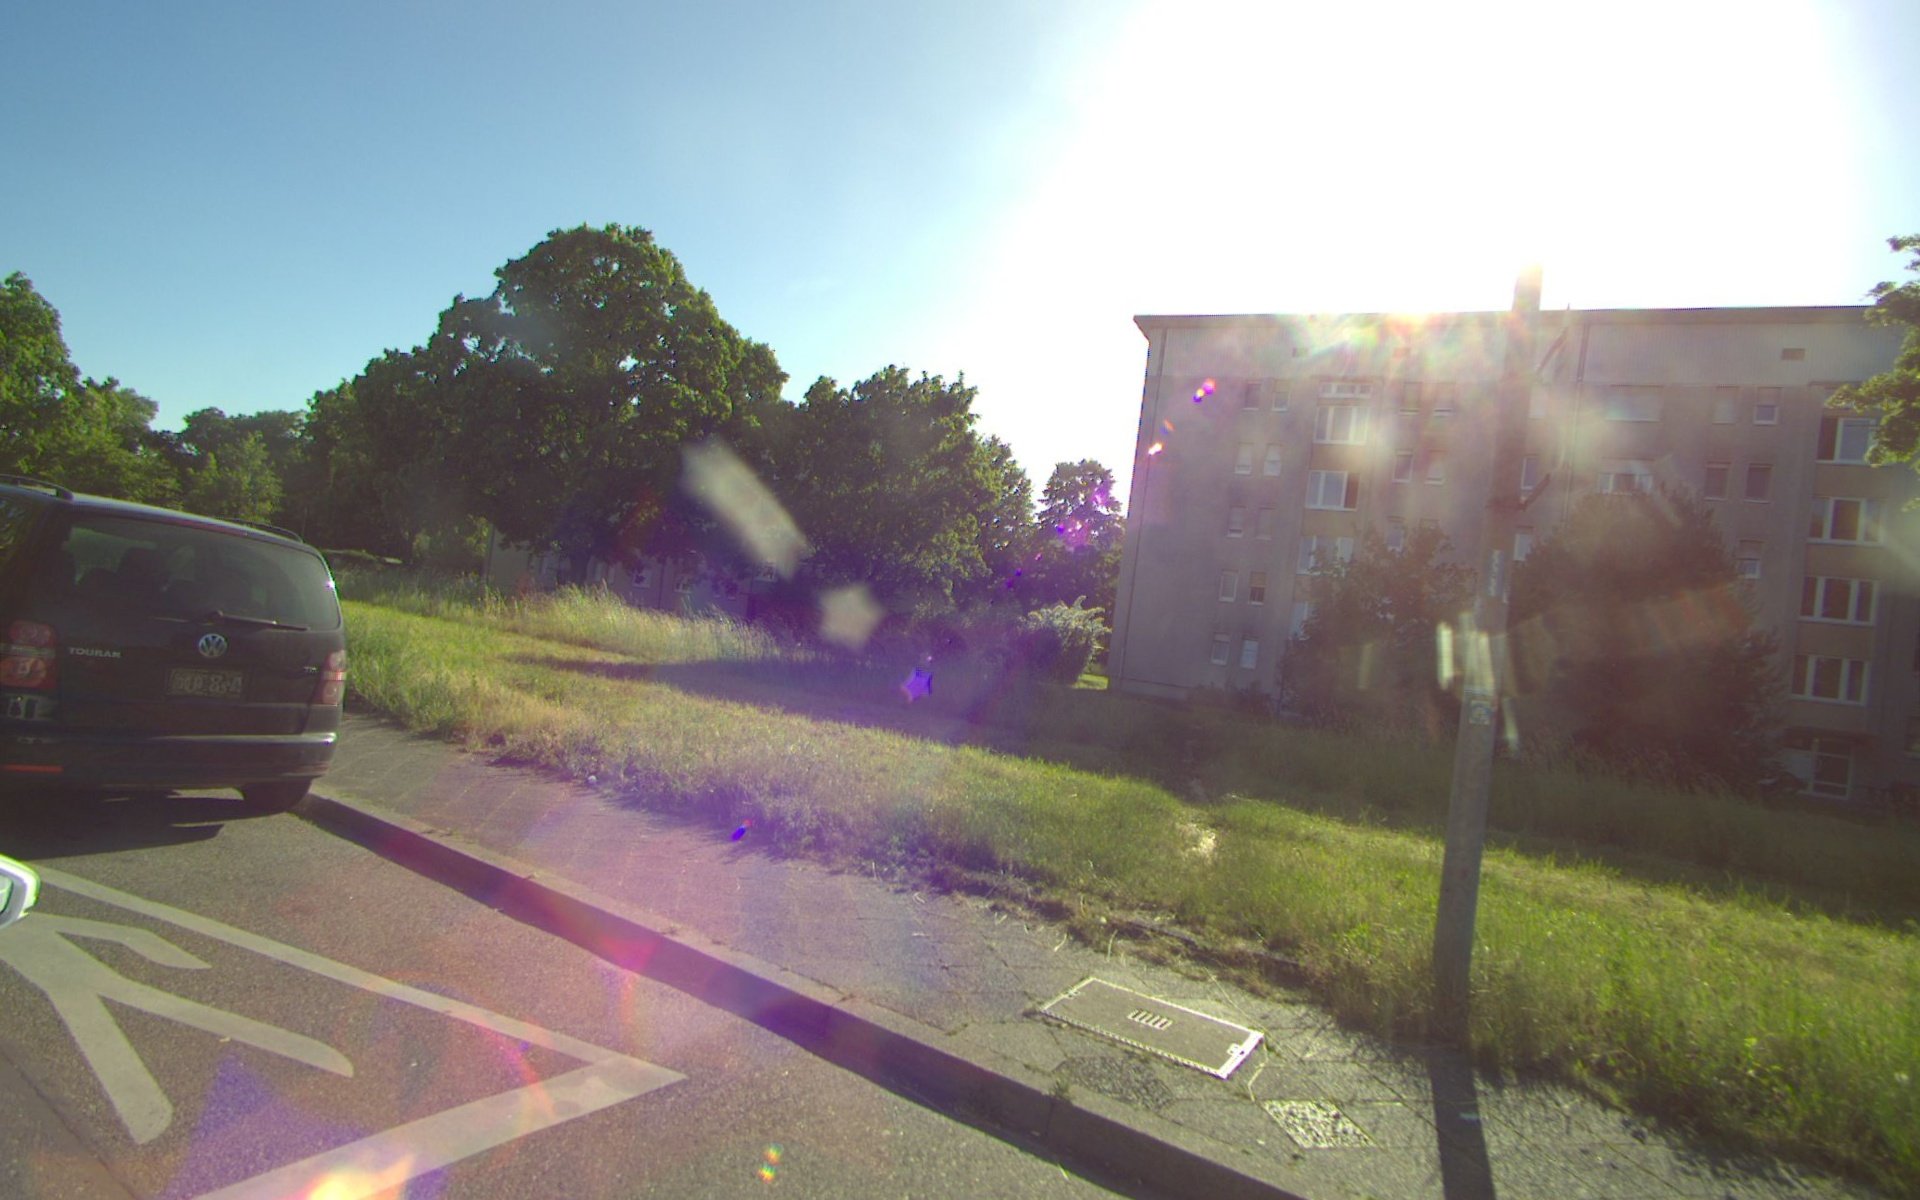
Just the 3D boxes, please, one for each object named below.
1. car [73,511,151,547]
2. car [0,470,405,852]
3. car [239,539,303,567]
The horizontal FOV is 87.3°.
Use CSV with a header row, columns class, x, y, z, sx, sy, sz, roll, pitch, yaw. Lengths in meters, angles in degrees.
class,x,y,z,sx,sy,sz,roll,pitch,yaw
car,-55.162,-4.592,65.476,3.693,1.636,1.680,9,-4,-43
car,-5.372,0.181,5.967,3.933,1.627,1.704,7,-4,31
car,-53.638,-3.650,78.347,1.676,1.635,3.701,3,-4,41
